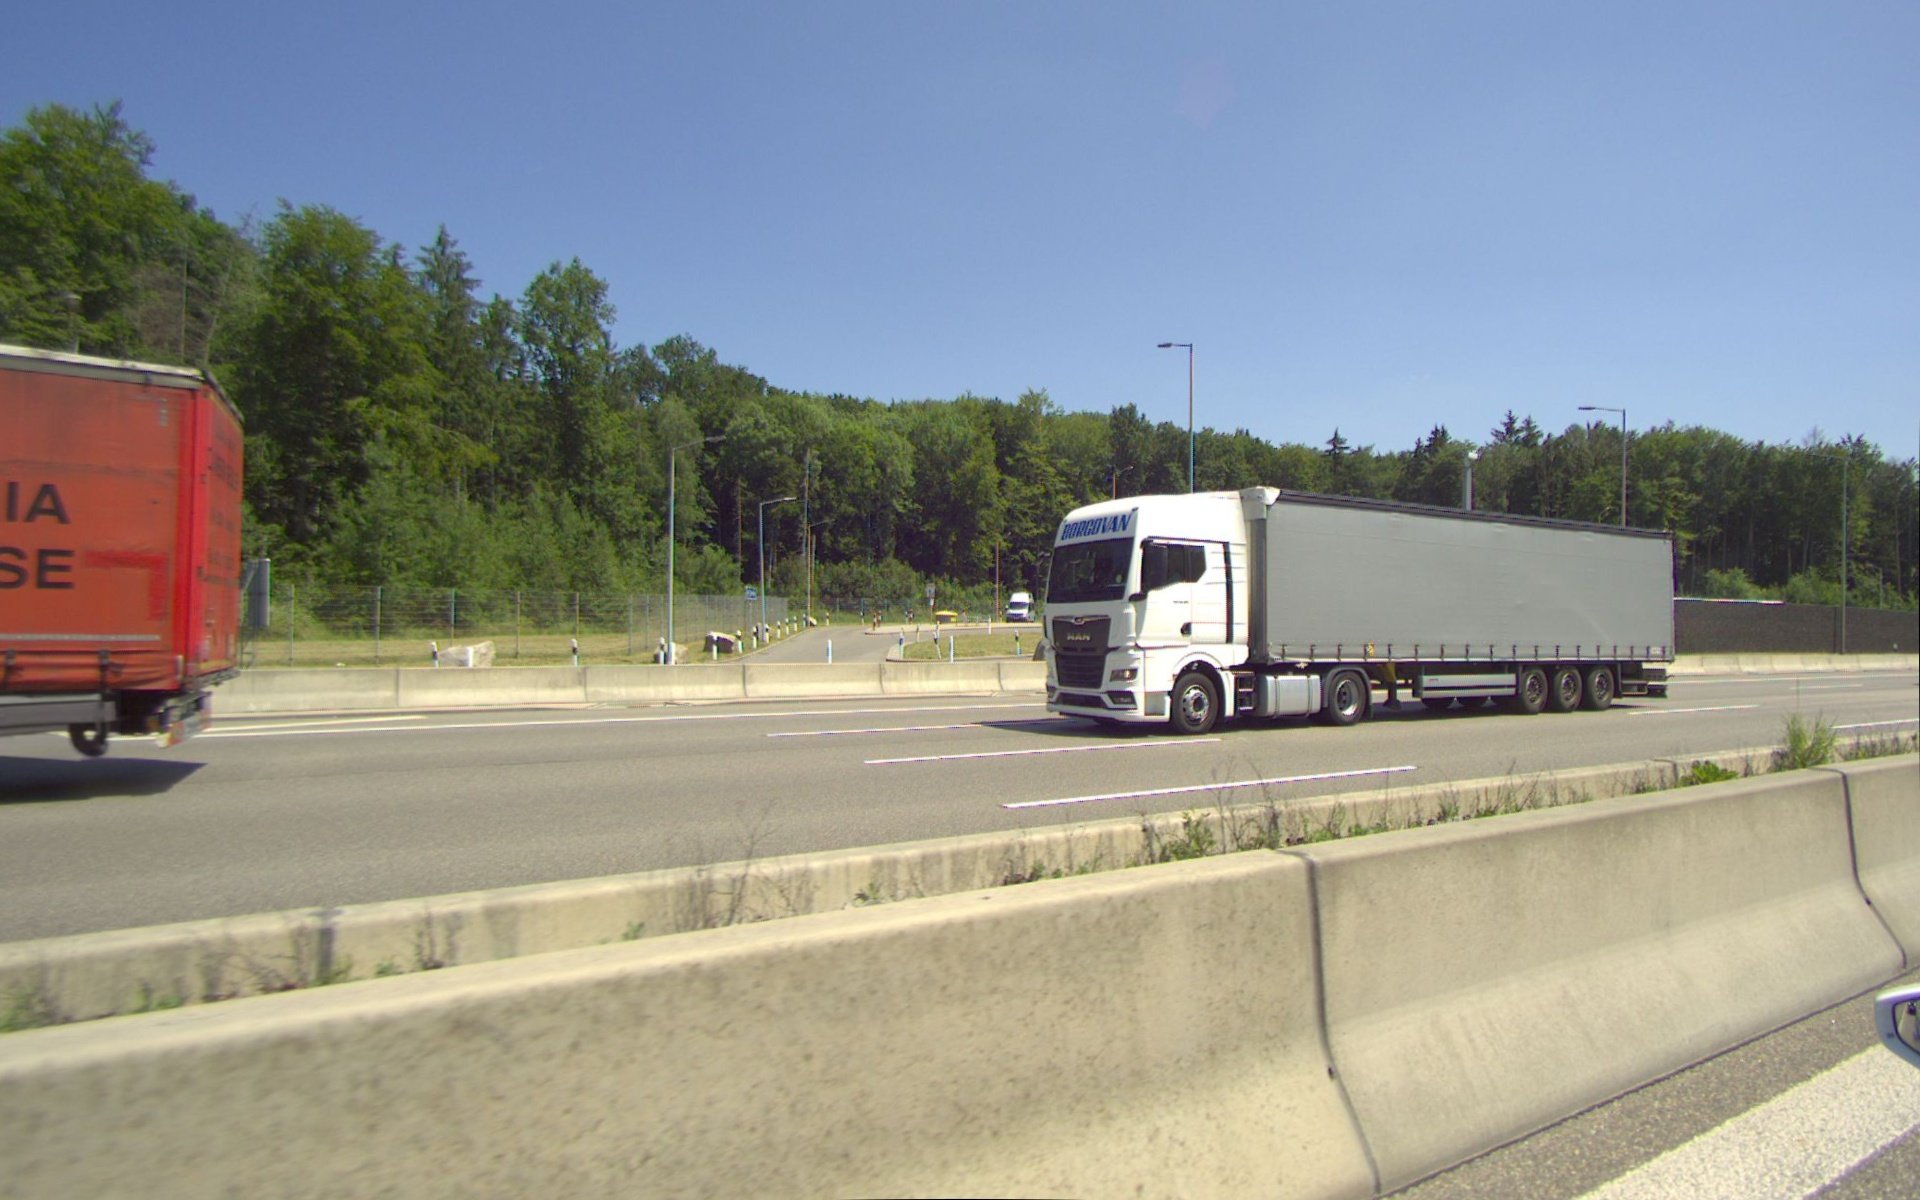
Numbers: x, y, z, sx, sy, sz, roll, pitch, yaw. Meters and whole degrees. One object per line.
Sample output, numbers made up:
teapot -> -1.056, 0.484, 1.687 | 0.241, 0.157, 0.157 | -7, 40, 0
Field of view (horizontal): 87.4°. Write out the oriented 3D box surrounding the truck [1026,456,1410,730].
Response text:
truck -> 4.706, 0.001, 17.903 | 6.702, 4.084, 2.722 | 2, -2, -30

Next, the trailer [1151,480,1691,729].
trailer -> 10.416, 0.247, 21.237 | 14.298, 4.054, 2.741 | 1, -1, -31

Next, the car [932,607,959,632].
car -> -1.205, 1.692, 85.206 | 1.960, 2.040, 4.002 | 0, -1, 4

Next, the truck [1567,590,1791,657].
truck -> 65.173, 2.078, 91.650 | 16.374, 5.687, 3.453 | 1, -1, 15

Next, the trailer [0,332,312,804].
trailer -> -13.206, -0.373, 7.347 | 14.016, 4.103, 2.559 | 1, -1, -31

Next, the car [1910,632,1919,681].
car -> 37.655, 2.111, 37.426 | 4.980, 1.797, 1.984 | 1, -1, -30

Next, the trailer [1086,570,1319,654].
trailer -> 15.537, 0.721, 65.028 | 14.273, 5.139, 3.131 | 1, -1, 15

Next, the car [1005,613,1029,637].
car -> 4.931, 2.160, 86.485 | 1.960, 2.040, 4.002 | 0, -1, 4
